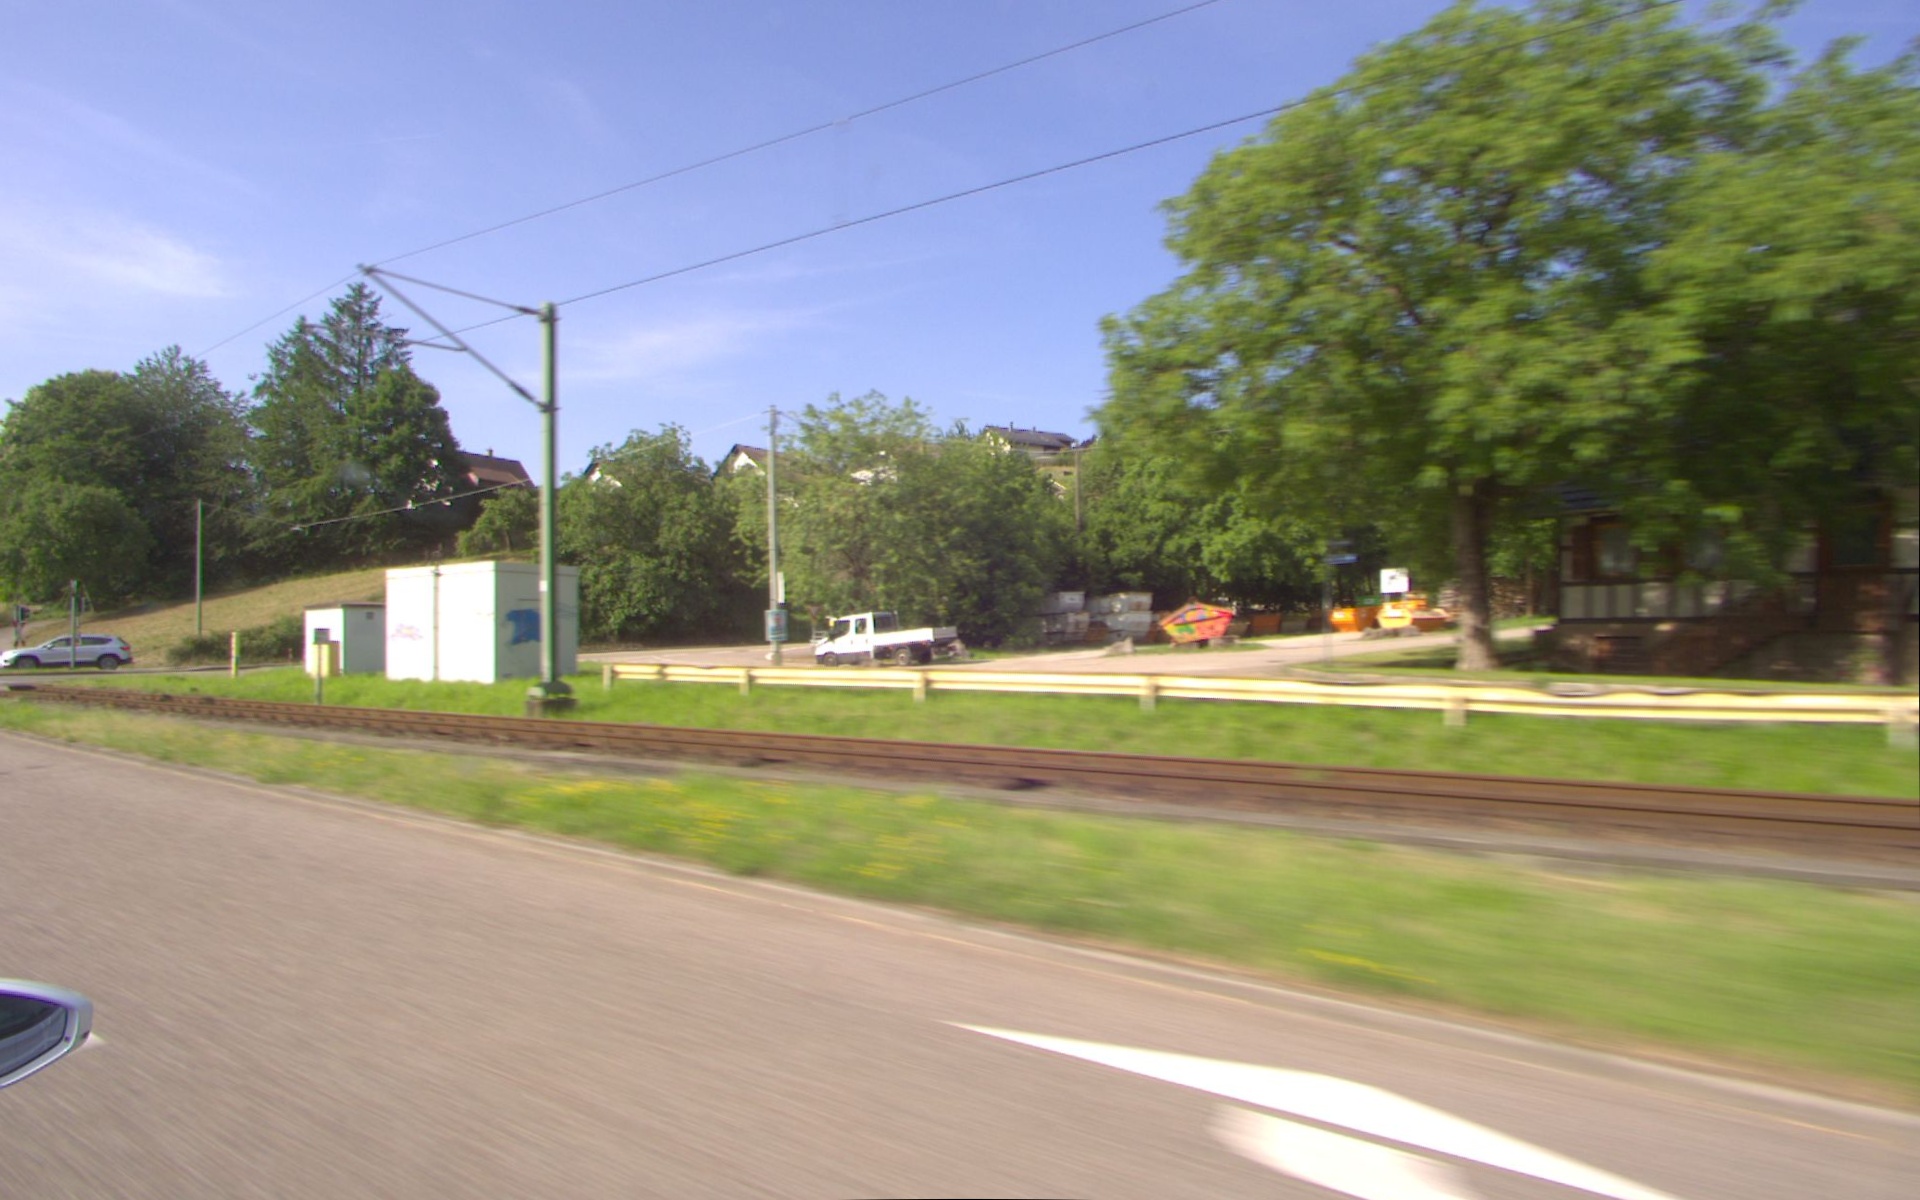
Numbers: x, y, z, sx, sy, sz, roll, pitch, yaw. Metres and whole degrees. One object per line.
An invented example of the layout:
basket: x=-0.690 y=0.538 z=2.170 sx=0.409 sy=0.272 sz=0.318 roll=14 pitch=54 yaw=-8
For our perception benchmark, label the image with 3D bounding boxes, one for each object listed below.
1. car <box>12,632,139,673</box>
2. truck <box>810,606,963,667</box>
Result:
car: x=-38.440 y=2.268 z=43.592 sx=4.086 sy=1.708 sz=1.818 roll=2 pitch=-3 yaw=-44
truck: x=-3.032 y=1.512 z=40.896 sx=5.849 sy=2.261 sz=2.397 roll=-3 pitch=-1 yaw=29
